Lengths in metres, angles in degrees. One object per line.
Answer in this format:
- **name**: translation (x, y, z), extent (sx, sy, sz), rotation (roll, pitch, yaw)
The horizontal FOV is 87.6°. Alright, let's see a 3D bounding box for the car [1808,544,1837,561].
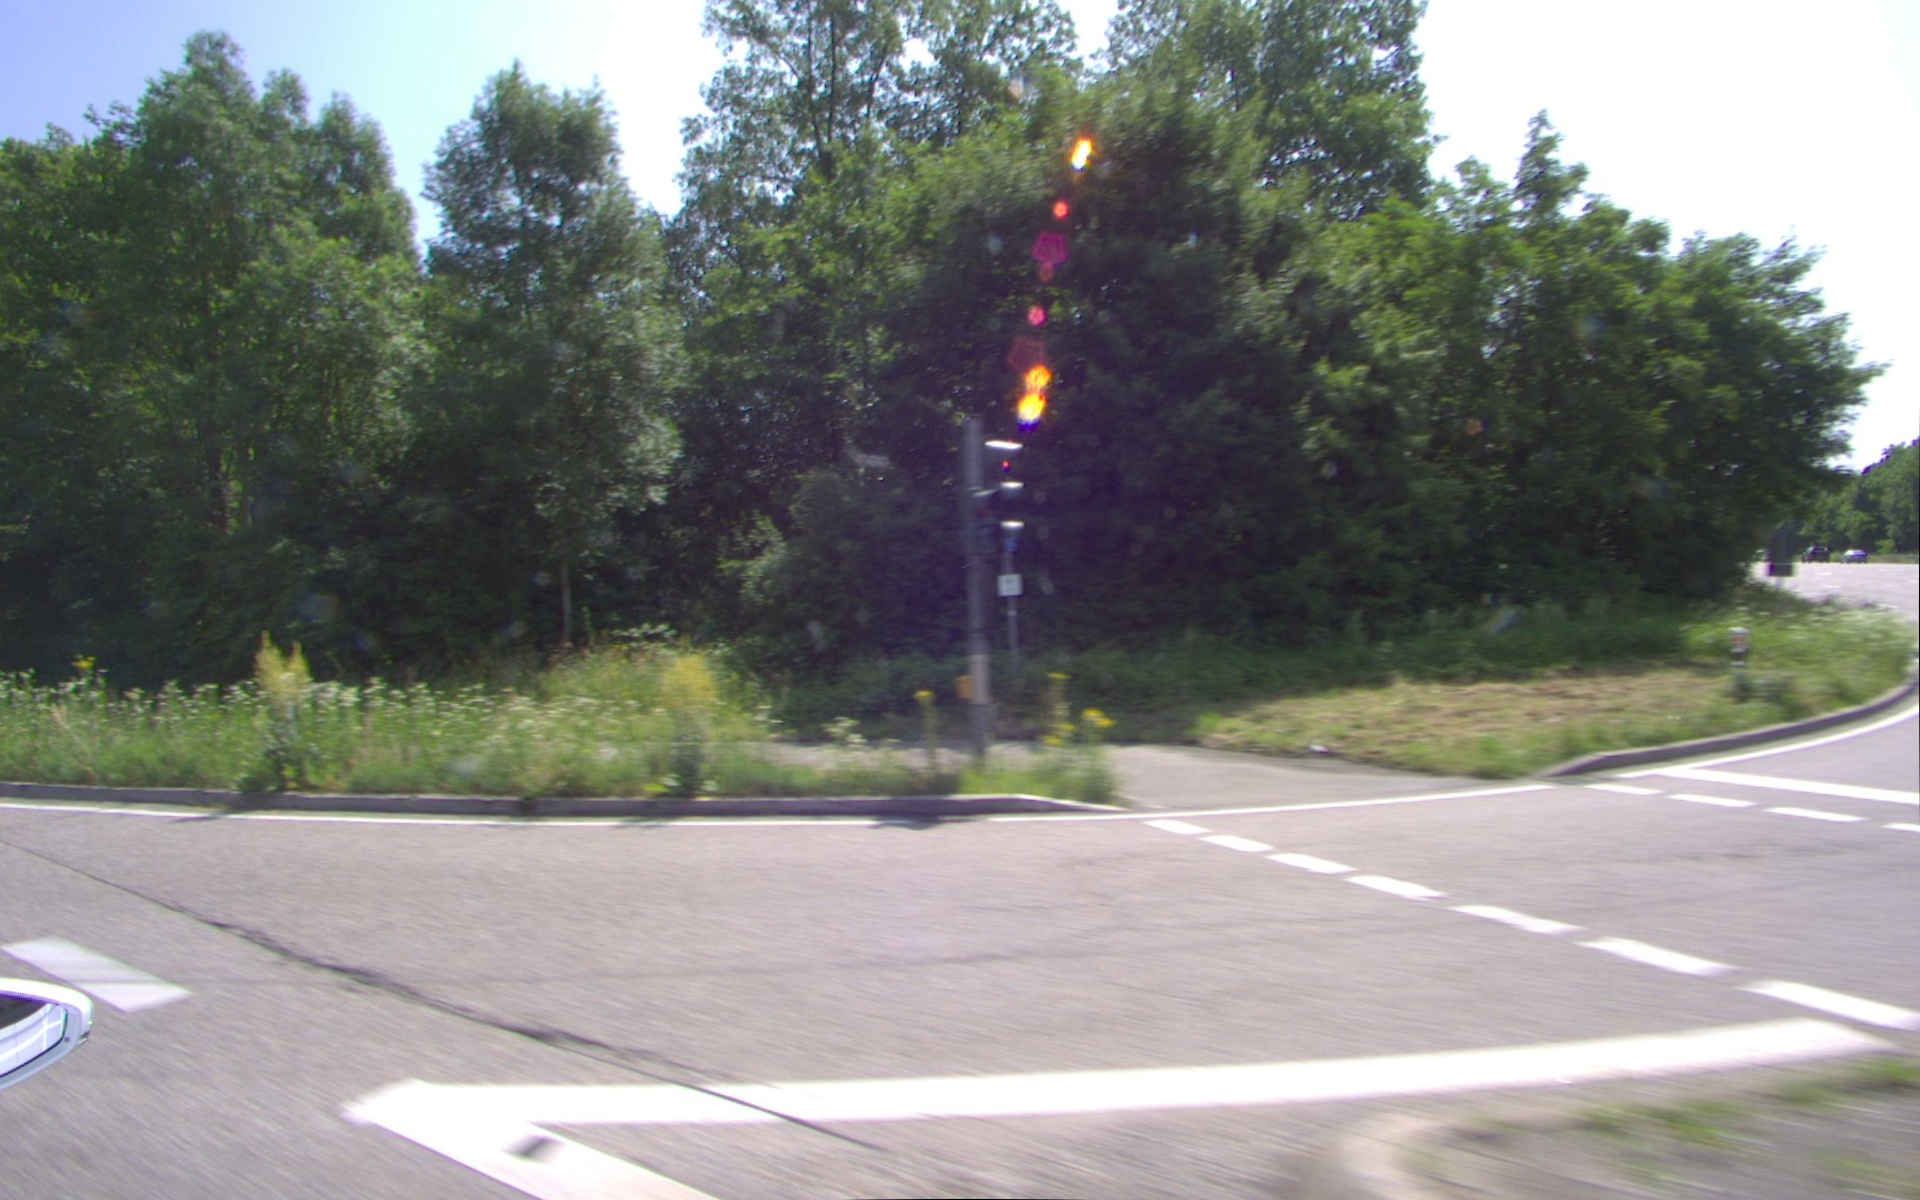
- **car**: translation (96.637, -5.339, 112.214), extent (1.821, 1.775, 4.435), rotation (0, 1, 33)

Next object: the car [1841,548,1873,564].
- **car**: translation (93.097, -4.534, 103.980), extent (1.821, 1.519, 4.435), rotation (0, 1, 33)
